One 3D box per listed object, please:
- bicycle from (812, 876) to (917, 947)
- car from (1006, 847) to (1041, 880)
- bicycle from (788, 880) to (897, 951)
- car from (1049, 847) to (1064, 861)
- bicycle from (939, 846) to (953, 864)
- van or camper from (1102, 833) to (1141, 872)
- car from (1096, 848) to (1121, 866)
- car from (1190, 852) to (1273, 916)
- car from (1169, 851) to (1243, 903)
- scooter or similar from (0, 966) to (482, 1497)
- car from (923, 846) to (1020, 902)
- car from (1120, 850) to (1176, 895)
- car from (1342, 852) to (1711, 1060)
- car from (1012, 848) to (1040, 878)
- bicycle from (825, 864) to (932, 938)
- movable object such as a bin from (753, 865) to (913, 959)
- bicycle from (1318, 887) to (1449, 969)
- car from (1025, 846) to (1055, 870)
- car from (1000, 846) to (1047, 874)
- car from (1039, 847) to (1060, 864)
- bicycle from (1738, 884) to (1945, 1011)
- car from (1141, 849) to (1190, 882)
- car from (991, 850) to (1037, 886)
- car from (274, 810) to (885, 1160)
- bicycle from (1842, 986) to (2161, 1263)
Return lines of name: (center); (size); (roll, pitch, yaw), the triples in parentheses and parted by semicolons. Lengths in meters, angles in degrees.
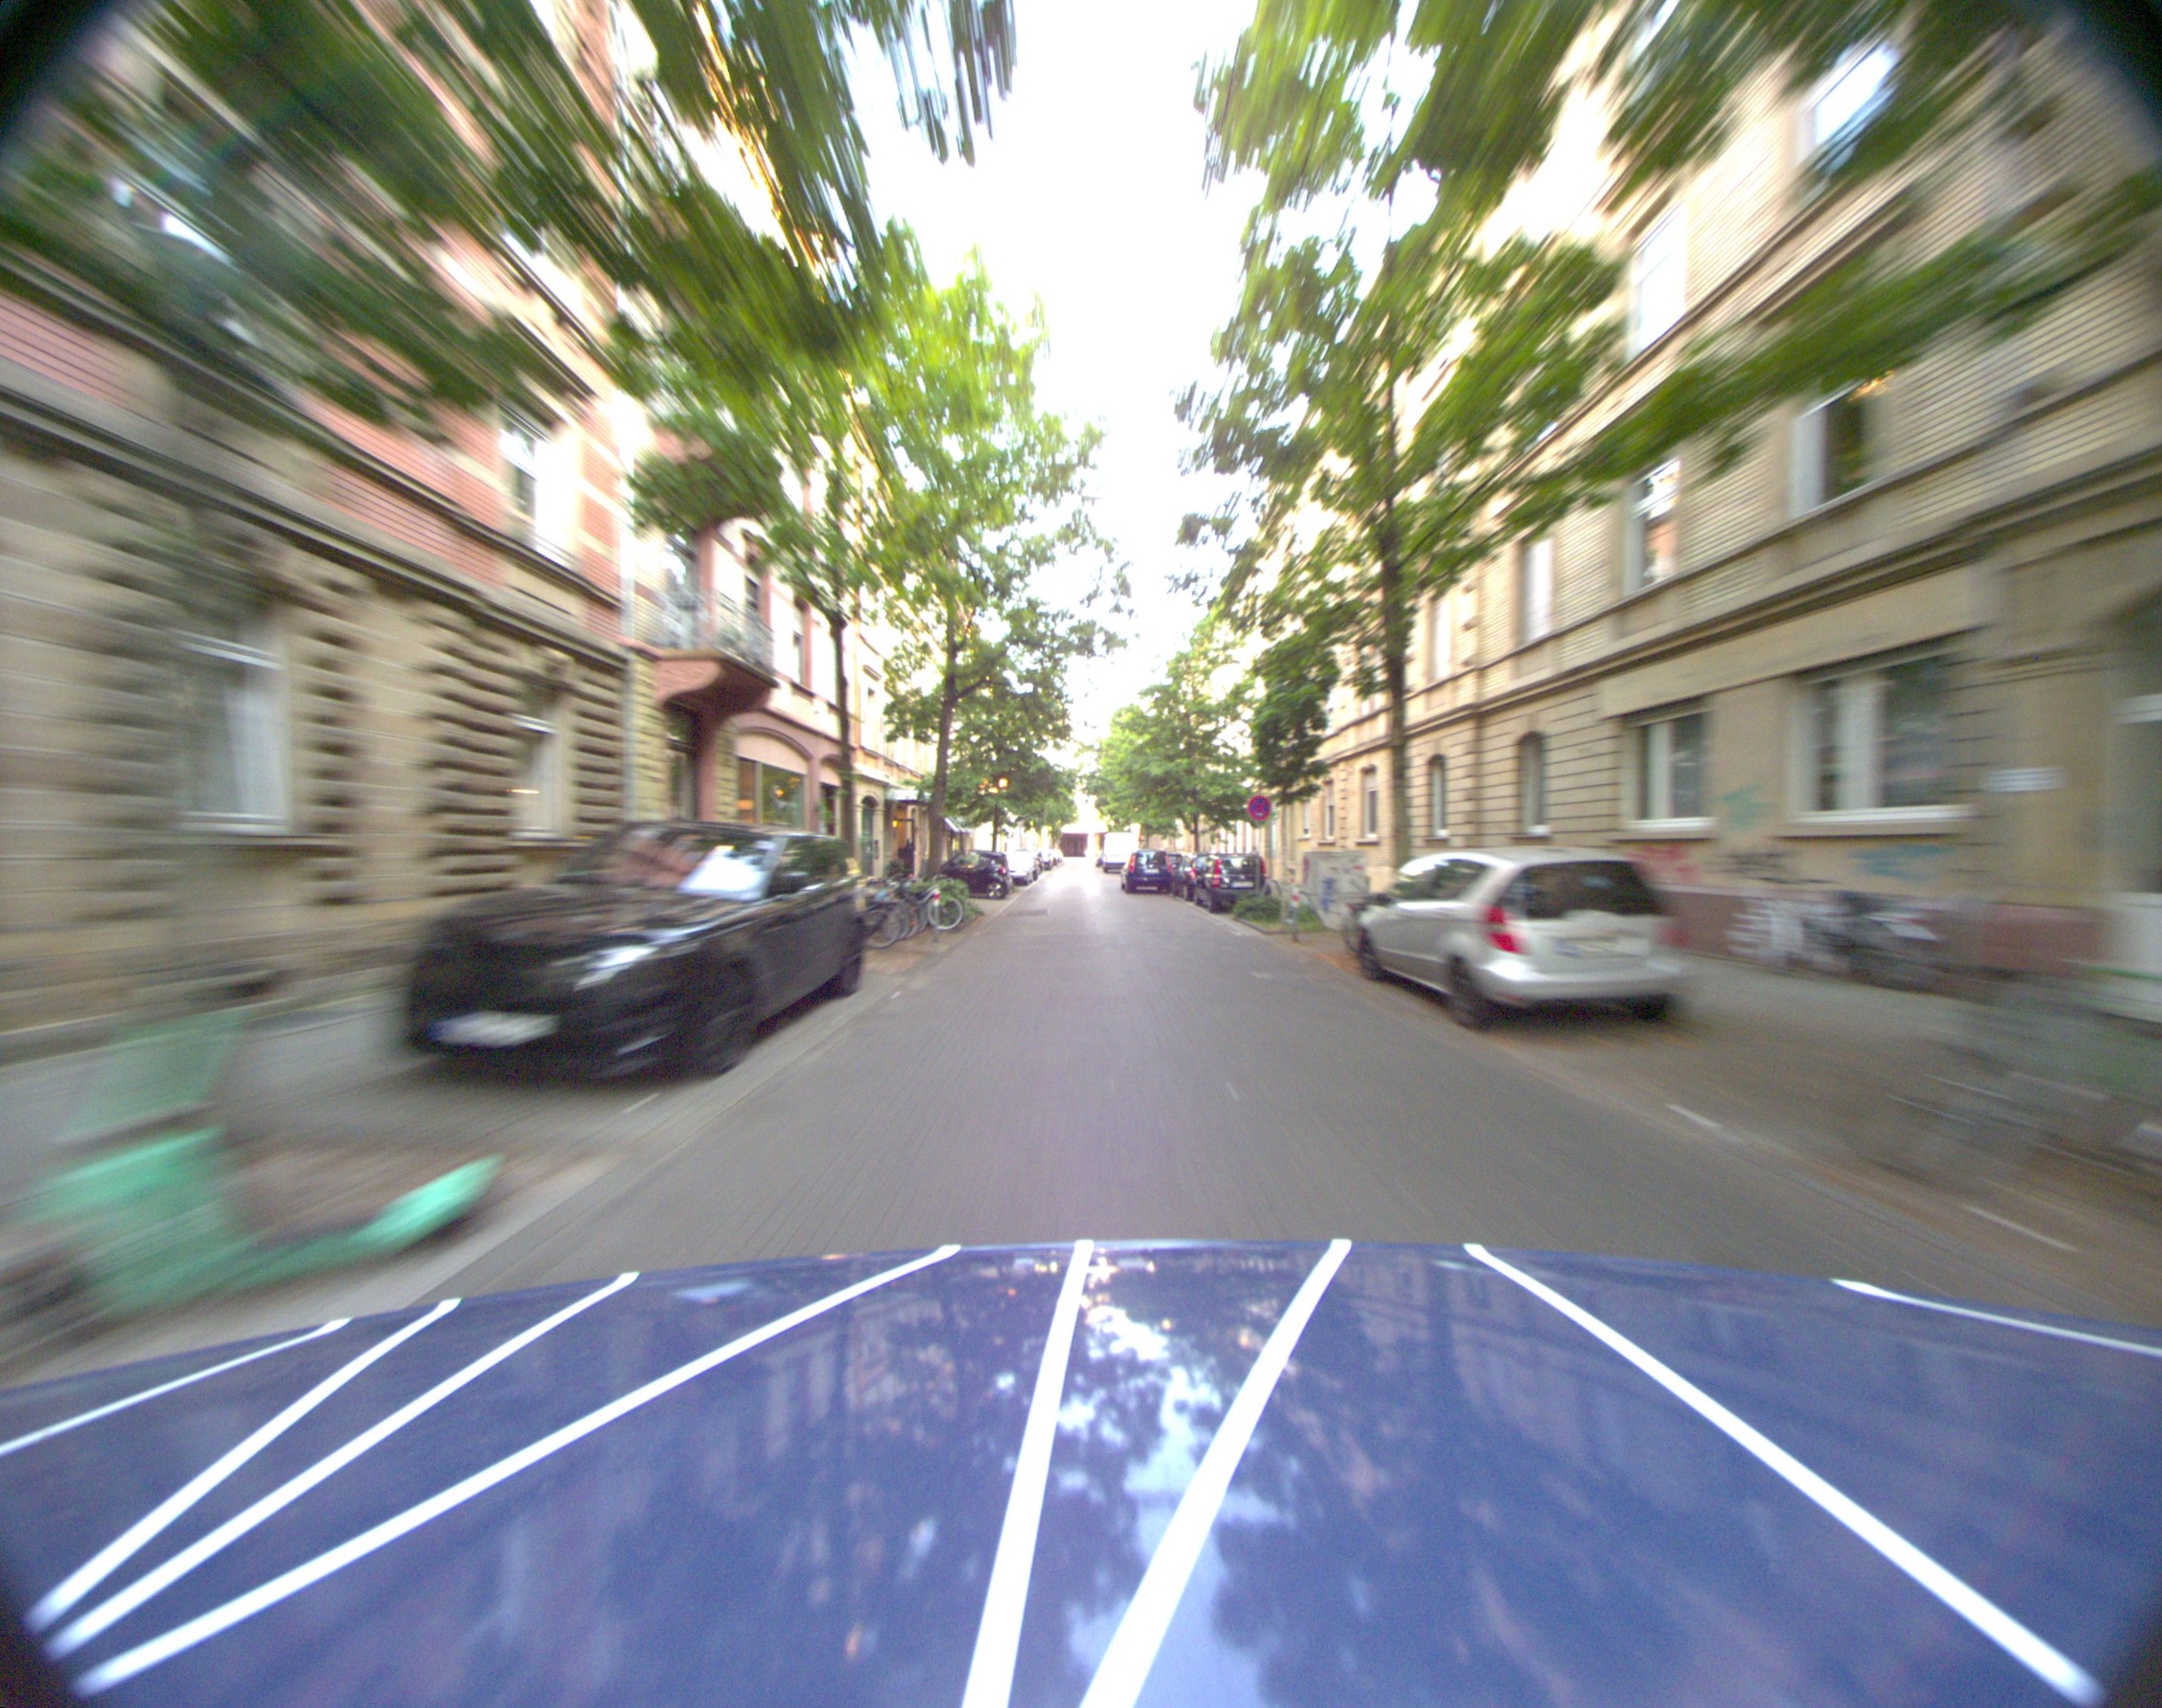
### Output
bicycle: (-3.830, 1.011, 13.520); (1.700, 1.191, 0.582); (0, 1, 3)
car: (-2.874, 0.442, 38.495); (1.595, 1.551, 3.121); (0, 1, -2)
bicycle: (-4.032, 1.031, 12.895); (1.662, 1.137, 0.582); (0, 1, 3)
car: (-2.871, -0.031, 88.204); (1.657, 1.501, 3.868); (0, 1, -2)
bicycle: (-6.505, 0.054, 36.682); (0.447, 0.855, 1.547); (0, 1, -1)
van or camper: (2.588, -0.131, 49.448); (2.225, 2.417, 5.659); (0, 1, 0)
car: (2.326, 0.237, 65.592); (1.665, 1.448, 4.282); (1, 1, -4)
car: (4.003, 0.748, 20.675); (1.523, 1.493, 3.560); (-1, 1, 0)
car: (3.958, 0.685, 24.592); (1.695, 1.493, 3.710); (-1, 1, -1)
scooter or similar: (-2.760, 1.063, 2.494); (0.673, 1.183, 1.118); (4, 2, 40)
car: (-3.504, 0.614, 24.730); (2.804, 1.590, 1.800); (3, 1, 0)
car: (2.466, 0.642, 28.813); (1.728, 1.564, 4.219); (0, 1, 0)
car: (4.196, 0.808, 7.955); (1.680, 1.598, 3.861); (-1, 1, 2)
car: (-2.994, 0.465, 41.884); (1.468, 1.543, 2.916); (1, 1, -3)
bicycle: (-3.795, 0.871, 14.334); (1.766, 1.286, 0.801); (2, 1, -1)
movable object such as a bin: (-3.882, 0.895, 12.022); (2.221, 1.298, 0.771); (3, 1, 2)
bicycle: (4.532, 1.074, 11.369); (1.871, 1.054, 0.595); (-2, 2, -19)
car: (-2.905, 0.218, 54.431); (1.944, 1.621, 4.453); (-1, 1, 0)
car: (-3.464, 0.349, 46.049); (2.721, 1.564, 1.526); (2, 1, 0)
car: (-2.929, 0.128, 71.472); (1.835, 1.530, 4.123); (0, 1, 0)
bicycle: (7.663, 0.889, 7.771); (0.462, 1.083, 1.629); (-3, 0, 1)
car: (4.000, 0.483, 36.382); (1.771, 1.454, 4.257); (0, 1, -1)
car: (-2.950, 0.565, 34.122); (1.738, 1.482, 4.103); (0, 1, 0)
car: (-3.338, 0.691, 6.513); (2.019, 1.823, 4.810); (2, 1, 0)
bicycle: (4.398, 1.138, 3.304); (1.688, 0.997, 0.430); (-3, 1, 2)
